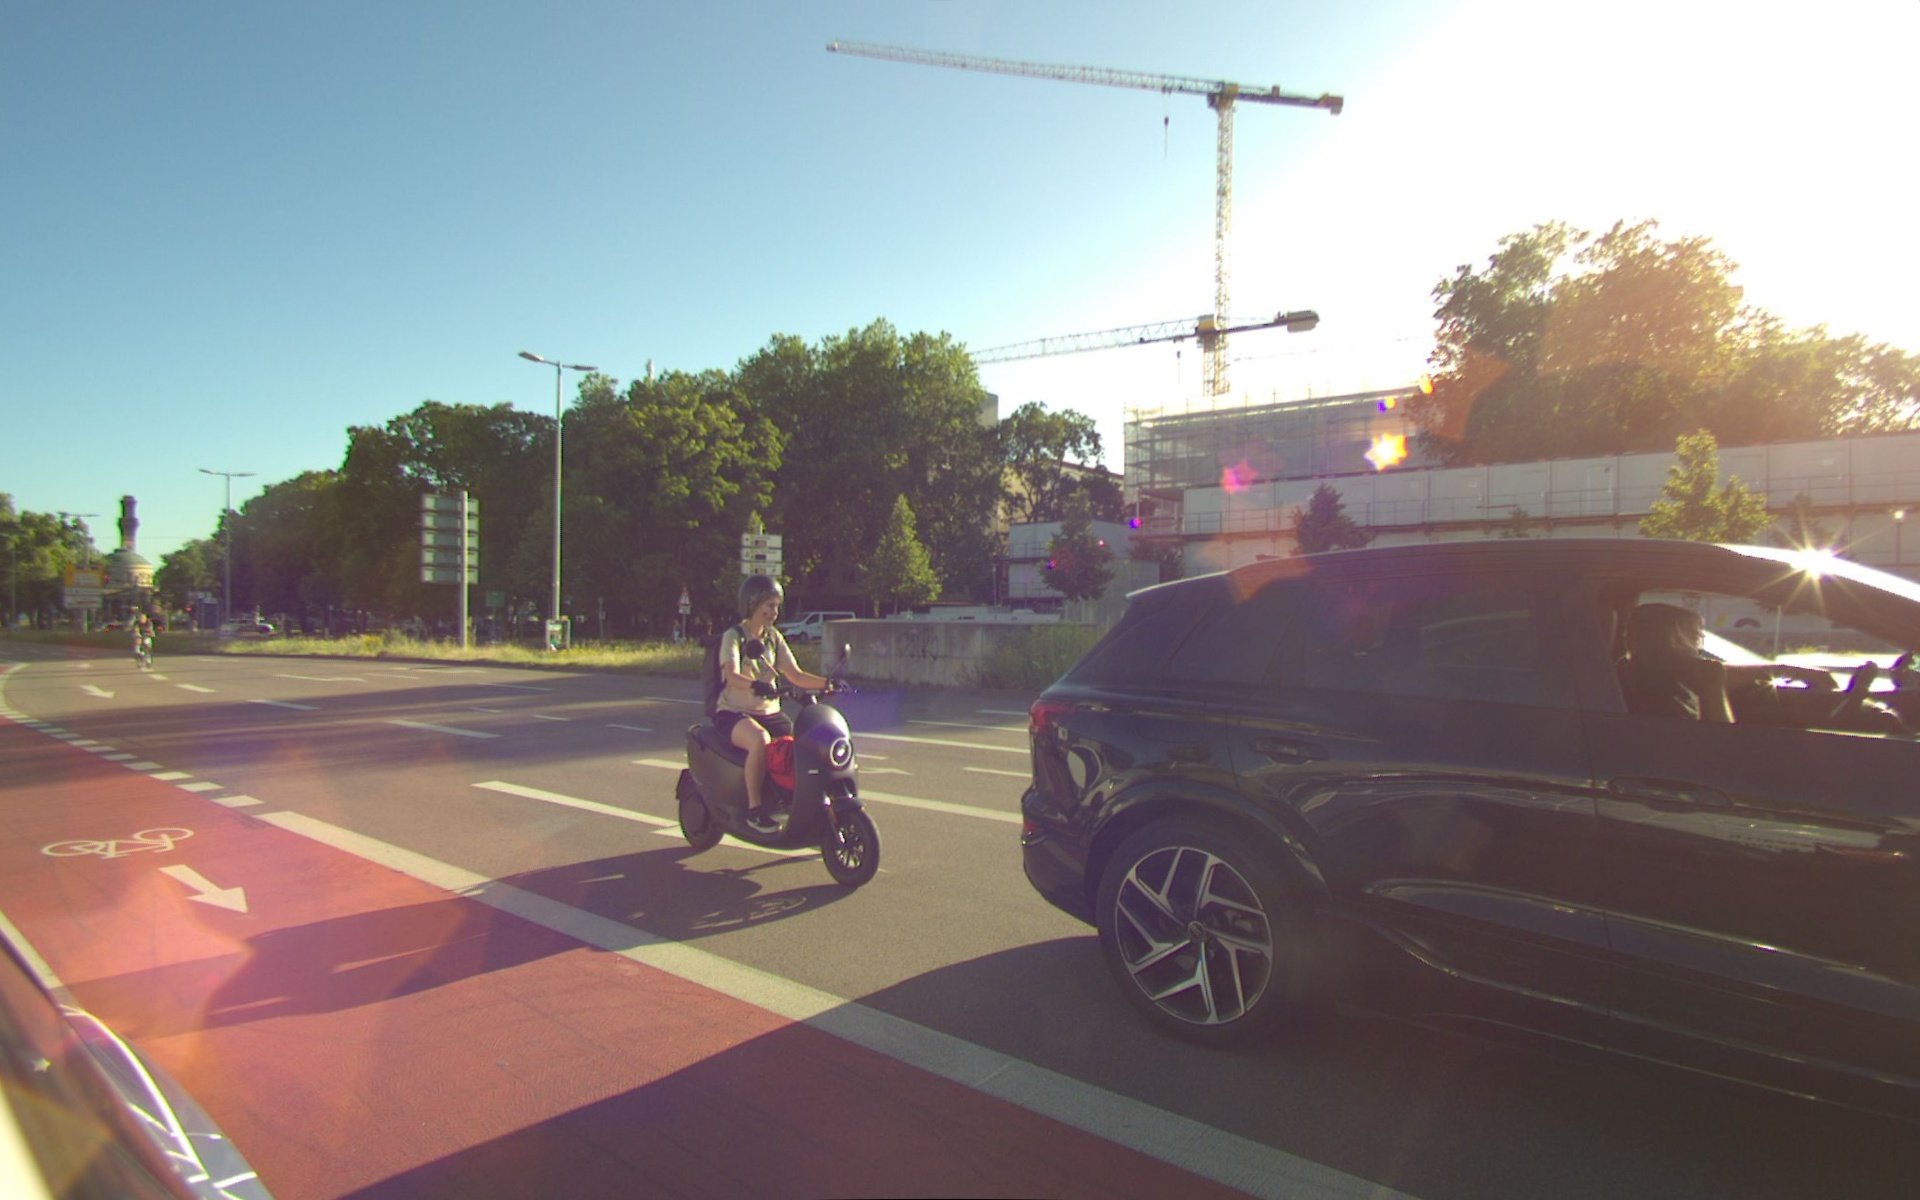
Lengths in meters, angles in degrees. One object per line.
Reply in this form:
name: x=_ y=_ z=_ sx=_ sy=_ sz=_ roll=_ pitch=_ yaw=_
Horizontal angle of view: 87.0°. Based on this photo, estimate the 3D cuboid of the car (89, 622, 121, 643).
car: x=-79.862 y=3.013 z=94.541 sx=3.945 sy=1.802 sz=1.725 roll=-1 pitch=0 yaw=41

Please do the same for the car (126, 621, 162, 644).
car: x=-71.466 y=2.832 z=88.649 sx=3.998 sy=1.841 sz=1.796 roll=-1 pitch=0 yaw=41

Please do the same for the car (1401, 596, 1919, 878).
car: x=4.977 y=0.755 z=6.549 sx=3.603 sy=1.497 sz=1.477 roll=-2 pitch=-1 yaw=41

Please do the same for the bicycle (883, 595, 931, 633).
bicycle: x=-1.691 y=0.446 z=32.130 sx=1.649 sy=1.163 sz=0.490 roll=-1 pitch=0 yaw=40

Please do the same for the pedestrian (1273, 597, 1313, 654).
pedestrian: x=11.995 y=0.902 z=36.425 sx=1.135 sy=2.029 sz=0.930 roll=-1 pitch=0 yaw=35

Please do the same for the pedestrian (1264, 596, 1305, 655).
pedestrian: x=11.443 y=0.873 z=35.636 sx=1.135 sy=2.029 sz=0.930 roll=-1 pitch=0 yaw=35

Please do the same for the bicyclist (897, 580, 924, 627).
bicyclist: x=-1.574 y=0.116 z=32.026 sx=0.713 sy=1.448 sz=0.490 roll=-1 pitch=0 yaw=39

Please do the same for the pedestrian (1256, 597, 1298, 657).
pedestrian: x=10.911 y=0.904 z=34.839 sx=1.135 sy=2.029 sz=0.930 roll=-1 pitch=0 yaw=35

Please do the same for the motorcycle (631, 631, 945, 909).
motorcycle: x=-1.030 y=0.842 z=5.733 sx=1.883 sy=1.303 sz=0.715 roll=-2 pitch=-1 yaw=41

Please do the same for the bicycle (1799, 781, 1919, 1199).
bicycle: x=1.414 y=0.787 z=0.239 sx=1.829 sy=1.227 sz=0.610 roll=-2 pitch=-1 yaw=39

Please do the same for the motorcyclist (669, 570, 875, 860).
motorcyclist: x=-1.077 y=0.596 z=5.774 sx=0.917 sy=1.485 sz=0.717 roll=-2 pitch=-1 yaw=41

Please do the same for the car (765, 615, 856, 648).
car: x=-9.056 y=1.914 z=61.849 sx=2.065 sy=1.950 sz=5.443 roll=-1 pitch=-2 yaw=42

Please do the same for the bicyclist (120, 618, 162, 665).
bicyclist: x=-24.501 y=1.245 z=30.290 sx=0.829 sy=1.358 sz=0.843 roll=-2 pitch=-1 yaw=41

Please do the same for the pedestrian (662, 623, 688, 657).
pedestrian: x=-15.808 y=2.207 z=56.181 sx=1.018 sy=1.845 sz=0.976 roll=-1 pitch=0 yaw=39

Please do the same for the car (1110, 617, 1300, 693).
car: x=5.514 y=1.188 z=23.026 sx=3.894 sy=1.597 sz=1.637 roll=-1 pitch=-2 yaw=39

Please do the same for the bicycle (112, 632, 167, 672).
bicycle: x=-24.736 y=1.545 z=30.491 sx=2.806 sy=1.124 sz=0.843 roll=-2 pitch=-1 yaw=41

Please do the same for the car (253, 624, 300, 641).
car: x=-81.870 y=3.906 z=121.220 sx=4.515 sy=1.851 sz=1.880 roll=-1 pitch=0 yaw=-42

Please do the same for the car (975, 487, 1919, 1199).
car: x=2.418 y=0.577 z=3.029 sx=4.677 sy=1.647 sz=1.753 roll=-1 pitch=0 yaw=40
